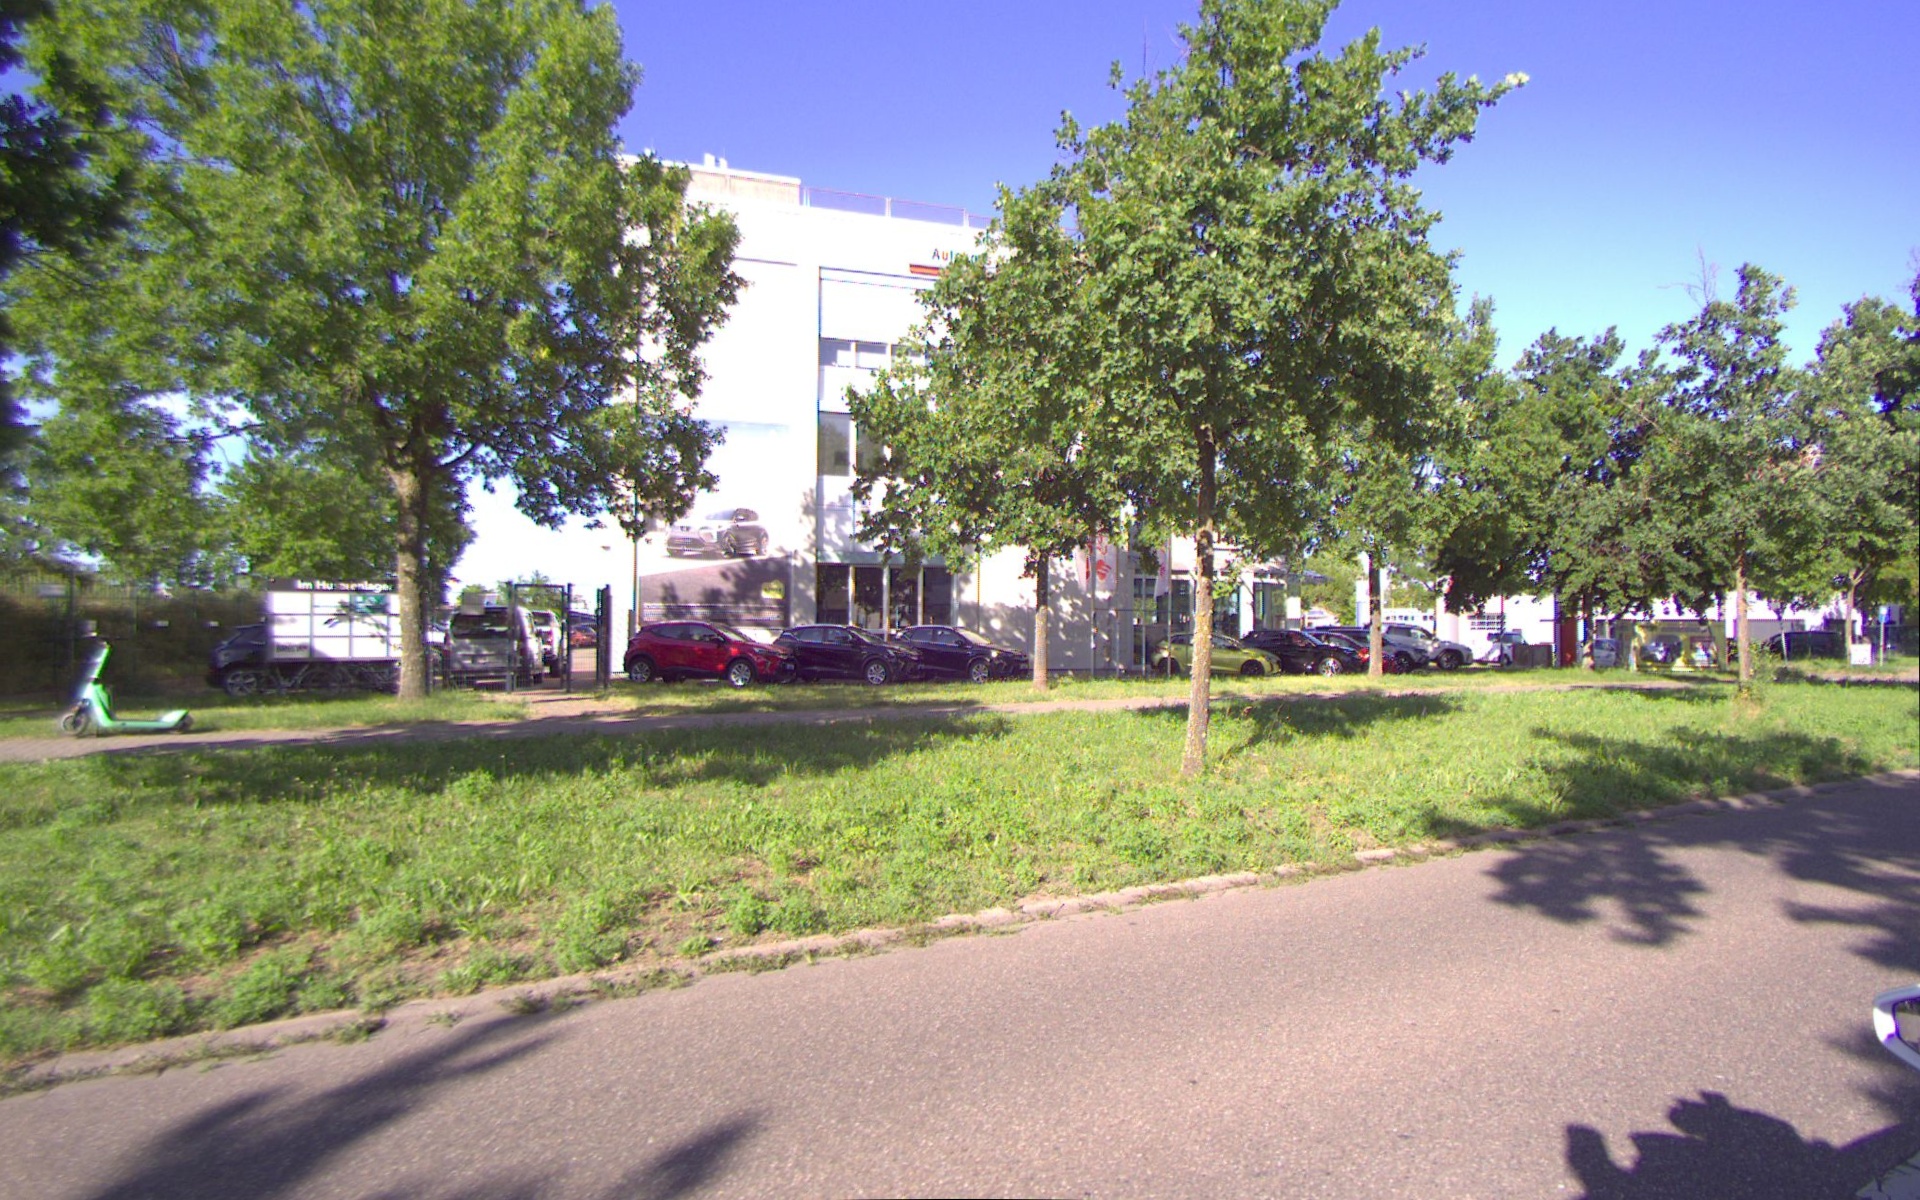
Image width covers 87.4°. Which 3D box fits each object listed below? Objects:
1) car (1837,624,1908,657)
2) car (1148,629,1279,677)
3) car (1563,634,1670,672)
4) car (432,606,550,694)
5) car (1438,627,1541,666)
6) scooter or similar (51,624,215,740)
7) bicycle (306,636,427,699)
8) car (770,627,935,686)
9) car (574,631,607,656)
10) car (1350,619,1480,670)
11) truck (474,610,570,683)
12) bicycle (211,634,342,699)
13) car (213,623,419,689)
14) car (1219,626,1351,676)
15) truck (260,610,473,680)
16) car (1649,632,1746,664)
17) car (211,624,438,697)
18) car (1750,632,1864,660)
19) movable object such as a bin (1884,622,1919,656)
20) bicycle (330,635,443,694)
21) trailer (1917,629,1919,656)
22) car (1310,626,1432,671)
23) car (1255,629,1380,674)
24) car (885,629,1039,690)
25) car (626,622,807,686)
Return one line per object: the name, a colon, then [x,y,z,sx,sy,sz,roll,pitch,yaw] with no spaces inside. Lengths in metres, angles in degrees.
car: [59.180,2.615,65.135,5.744,2.015,2.024,1,-2,-33]
car: [8.056,1.631,31.808,3.875,1.420,2.000,0,-2,19]
car: [29.639,2.369,45.460,1.931,1.639,3.743,1,-2,-16]
car: [-10.724,1.076,23.247,1.994,1.807,4.014,1,0,-18]
car: [27.405,2.373,52.223,1.908,1.931,5.014,1,-2,-13]
scooter or similar: [-9.692,0.942,11.826,1.425,1.296,0.393,1,-2,-32]
bicycle: [-10.879,1.223,18.466,1.869,1.102,0.636,1,-2,-30]
car: [-2.794,1.444,26.362,3.920,1.467,1.802,0,-2,18]
car: [-27.860,3.230,75.867,1.968,1.808,4.866,1,-2,-17]
car: [18.906,1.827,41.975,4.762,2.040,2.000,0,-2,19]
truck: [-12.136,1.210,28.112,1.994,1.807,4.671,1,0,-18]
bicycle: [-12.229,1.172,18.037,1.869,1.102,0.636,1,-2,-30]
car: [-15.294,1.304,24.122,3.948,1.467,1.789,1,-2,-27]
car: [10.784,1.656,33.432,4.087,1.558,1.897,0,-2,19]
truck: [-16.993,1.287,29.131,5.116,1.866,2.019,1,-2,-27]
car: [37.408,2.417,51.056,1.792,1.553,3.670,1,-2,-15]
car: [-13.711,1.277,21.982,3.945,1.467,1.790,1,-2,-25]
car: [47.298,2.547,56.215,1.915,1.499,4.488,1,-2,-25]
movable object such as a bin: [64.631,2.613,67.883,4.410,2.246,2.091,1,-2,-32]
bicycle: [-11.095,1.226,19.488,1.869,1.102,0.636,1,-2,-30]
trailer: [70.482,3.039,71.833,3.698,1.940,2.091,1,-2,-32]
car: [15.548,1.805,38.016,4.095,1.583,1.997,-1,-2,29]
car: [12.770,1.801,35.915,4.089,1.510,2.000,0,-2,22]
car: [0.027,1.586,27.831,3.930,1.531,1.797,-1,-1,32]
car: [-5.917,1.297,24.576,3.919,1.467,1.802,0,-2,13]
